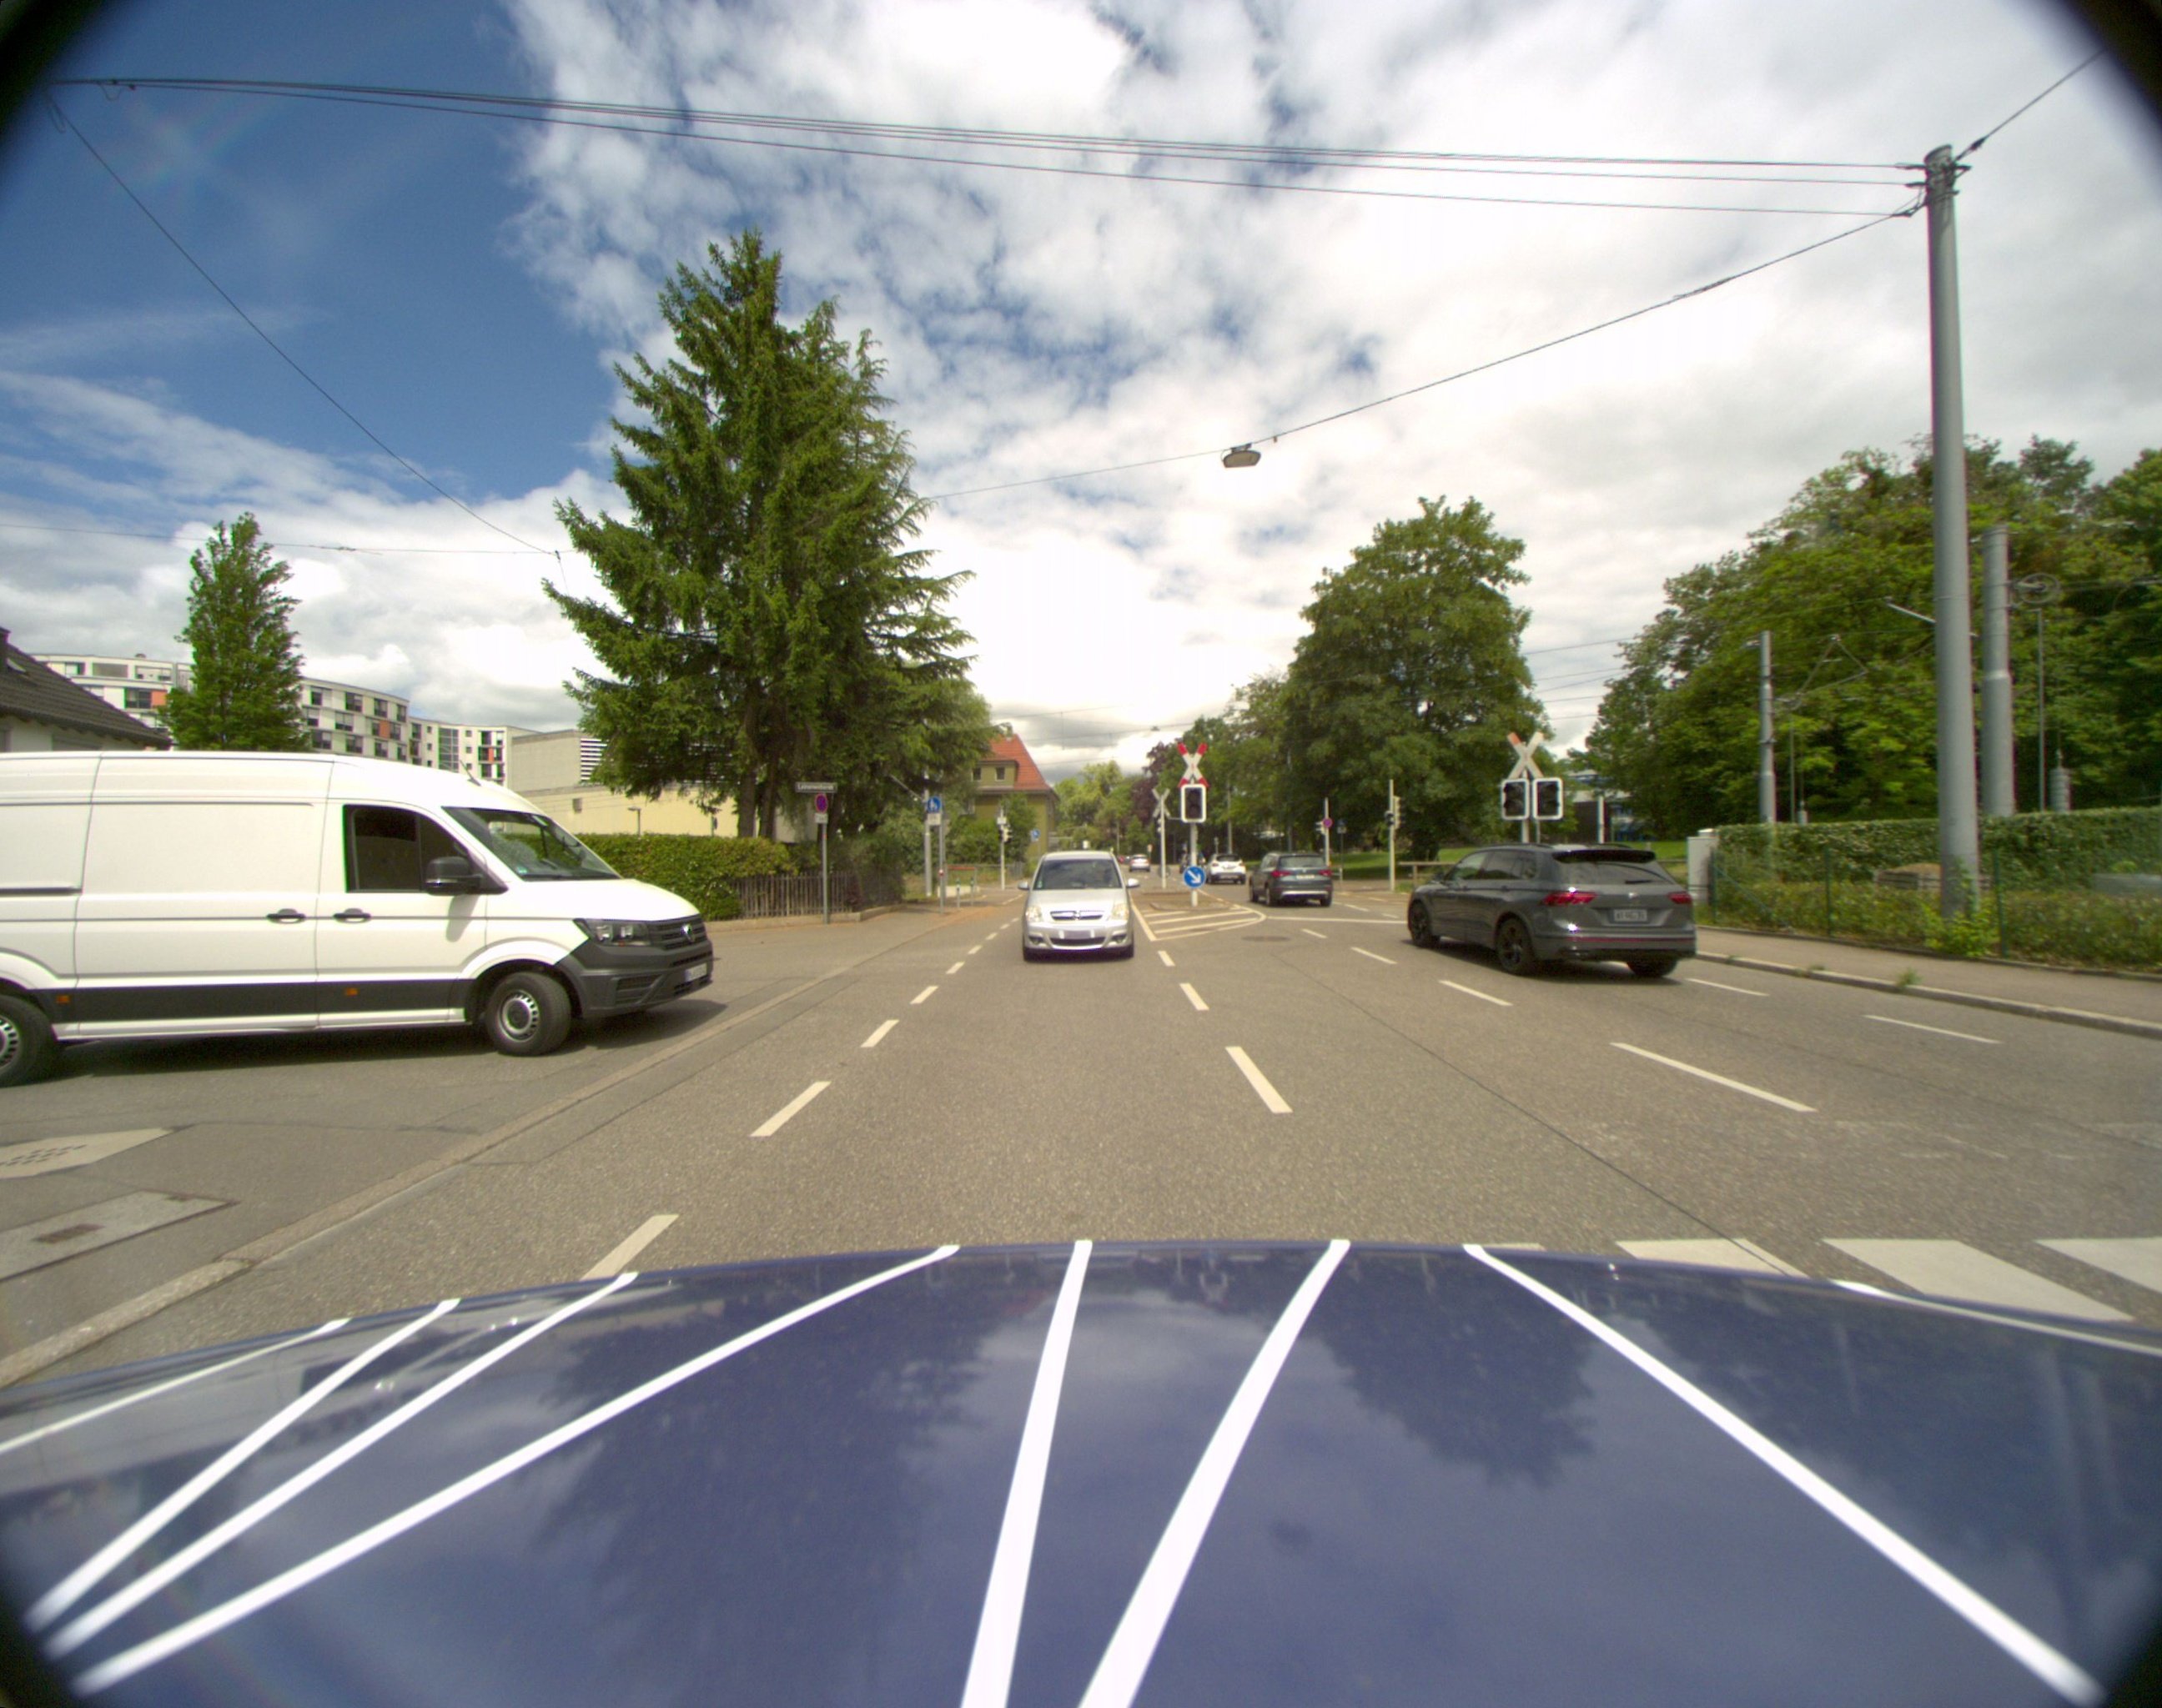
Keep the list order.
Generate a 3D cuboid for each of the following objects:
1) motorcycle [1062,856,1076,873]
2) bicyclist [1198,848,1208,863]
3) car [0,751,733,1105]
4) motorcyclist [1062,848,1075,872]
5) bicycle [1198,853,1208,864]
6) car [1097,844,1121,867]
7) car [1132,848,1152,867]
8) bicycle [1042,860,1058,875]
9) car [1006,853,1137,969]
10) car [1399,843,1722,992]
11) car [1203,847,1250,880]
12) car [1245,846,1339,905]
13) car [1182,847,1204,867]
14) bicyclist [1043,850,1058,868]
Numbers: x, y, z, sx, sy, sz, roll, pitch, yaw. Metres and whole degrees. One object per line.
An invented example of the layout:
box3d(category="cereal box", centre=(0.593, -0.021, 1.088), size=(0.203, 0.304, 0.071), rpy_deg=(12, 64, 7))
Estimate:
box3d(category="motorcycle", centre=(-0.801, 0.678, 50.330), size=(0.837, 1.101, 1.800), rpy_deg=(1, 1, 1))
box3d(category="bicyclist", centre=(12.850, 0.159, 80.018), size=(0.807, 1.599, 0.772), rpy_deg=(-3, 1, 1))
box3d(category="car", centre=(-6.585, 0.529, 6.694), size=(6.014, 2.566, 1.999), rpy_deg=(-1, 0, -7))
box3d(category="motorcyclist", centre=(-0.808, 0.397, 50.339), size=(0.837, 1.547, 0.650), rpy_deg=(1, 1, 1))
box3d(category="bicycle", centre=(12.864, 0.484, 80.092), size=(0.813, 1.101, 1.800), rpy_deg=(-3, 1, 2))
box3d(category="car", centre=(2.433, 0.137, 67.166), size=(1.999, 1.983, 4.370), rpy_deg=(0, 1, 0))
box3d(category="car", centre=(5.343, 0.253, 66.204), size=(1.691, 1.450, 4.069), rpy_deg=(-1, 2, 6))
box3d(category="bicycle", centre=(-2.142, 0.947, 53.477), size=(0.934, 1.034, 1.915), rpy_deg=(1, 0, 3))
box3d(category="car", centre=(-0.028, 0.796, 12.577), size=(1.780, 1.519, 4.000), rpy_deg=(-2, 1, 3))
box3d(category="car", centre=(6.104, 0.670, 10.377), size=(1.779, 1.594, 4.168), rpy_deg=(0, 1, 0))
box3d(category="car", centre=(7.383, 0.451, 38.927), size=(1.779, 1.594, 4.039), rpy_deg=(0, 0, 3))
box3d(category="car", centre=(6.198, 0.588, 22.748), size=(1.779, 1.594, 4.039), rpy_deg=(0, 0, 2))
box3d(category="car", centre=(8.734, 0.224, 59.412), size=(1.578, 1.501, 2.789), rpy_deg=(-1, 0, 5))
box3d(category="bicyclist", centre=(-2.128, 0.319, 53.573), size=(0.934, 1.240, 1.102), rpy_deg=(1, 0, 3))
